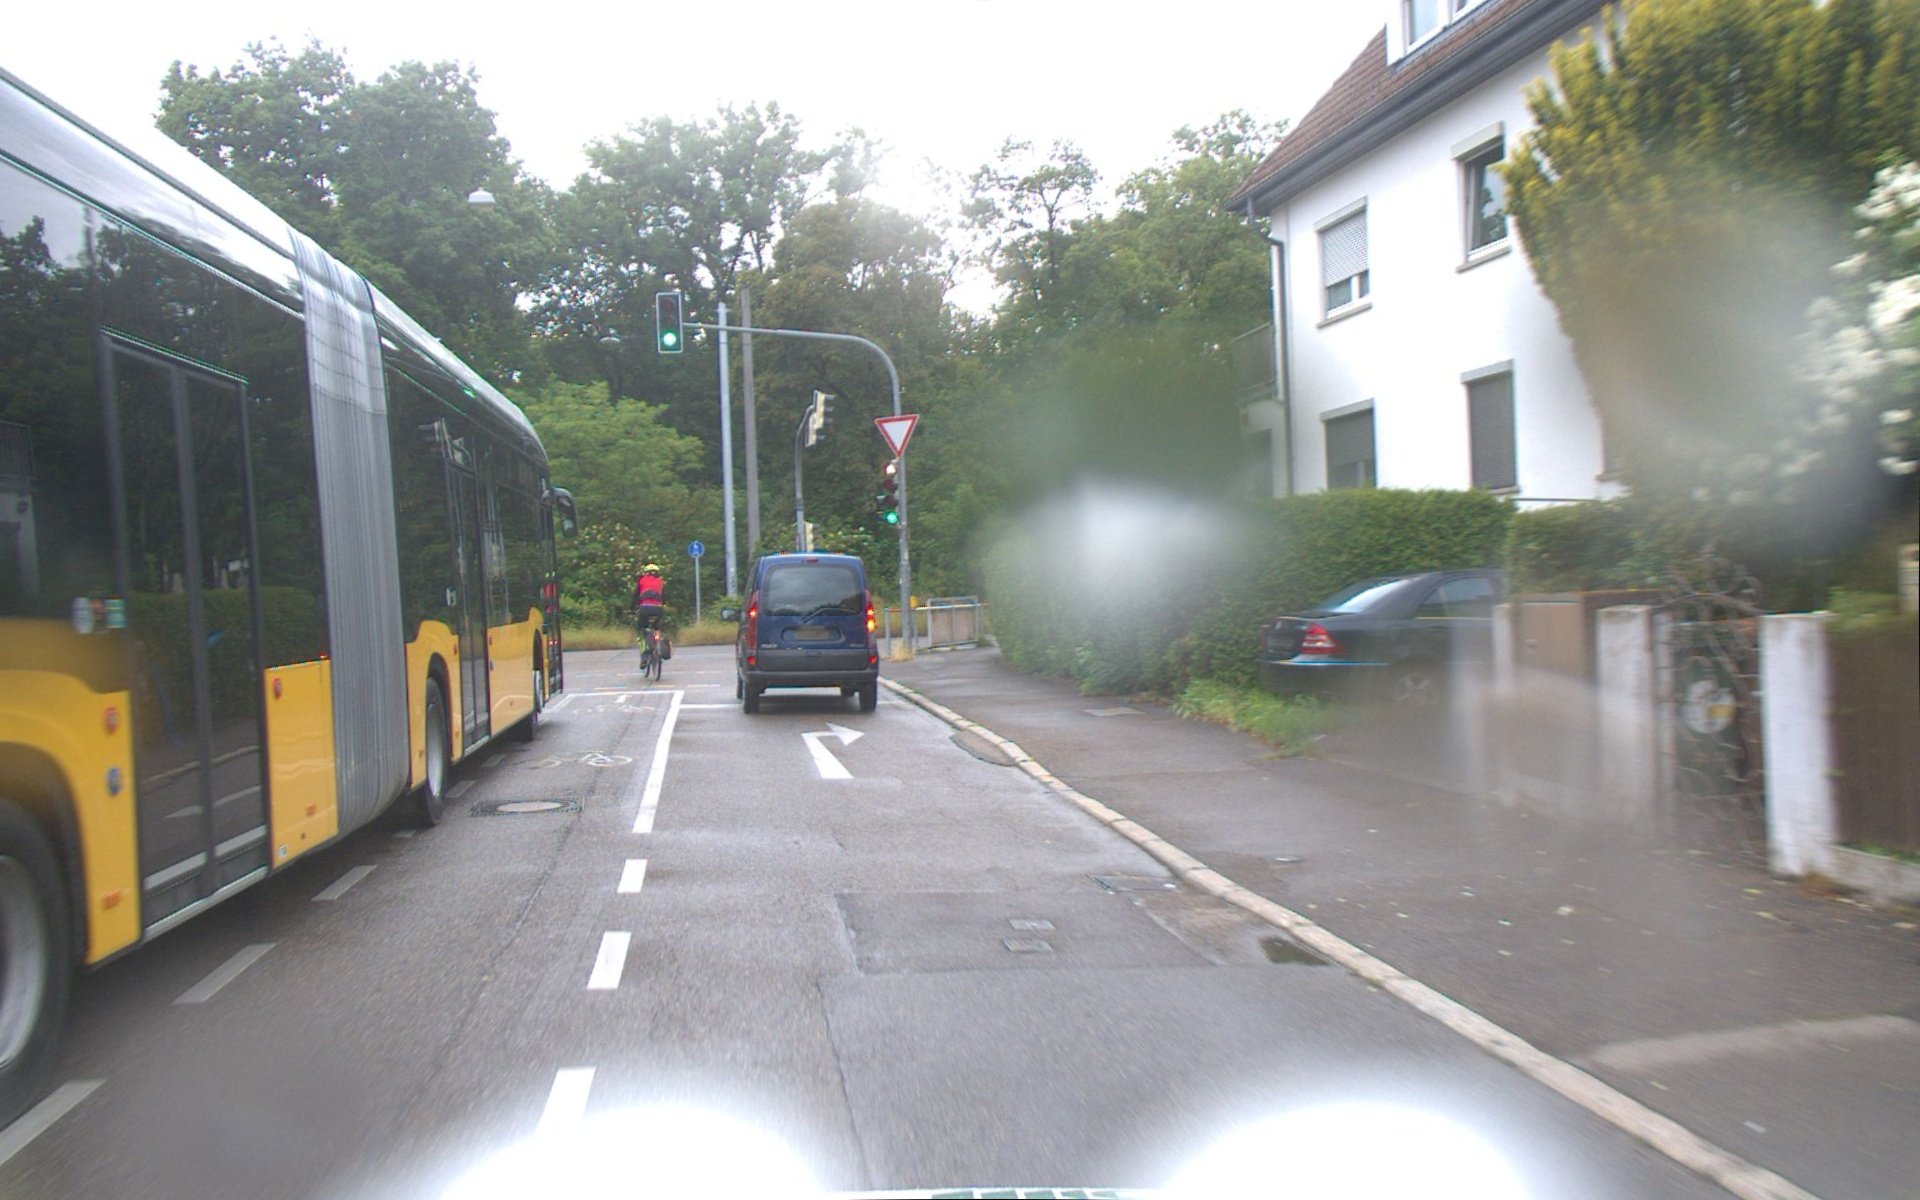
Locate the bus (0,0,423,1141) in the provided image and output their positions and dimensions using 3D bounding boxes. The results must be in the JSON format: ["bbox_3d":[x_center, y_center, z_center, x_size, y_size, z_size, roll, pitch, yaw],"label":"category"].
[{"bbox_3d":[-4.112,-0.192,5.360,2.625,3.457,8.670,-2,1,-6],"label":"bus"}]

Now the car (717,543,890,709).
[{"bbox_3d":[-2.054,0.306,20.728,1.776,1.829,3.989,-1,0,-11],"label":"car"}]

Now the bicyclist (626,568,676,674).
[{"bbox_3d":[-5.020,0.328,26.832,0.570,1.681,1.041,-1,0,-23],"label":"bicyclist"}]

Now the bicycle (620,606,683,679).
[{"bbox_3d":[-5.038,0.671,26.894,0.570,1.115,2.139,-1,1,-23],"label":"bicycle"}]

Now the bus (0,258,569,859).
[{"bbox_3d":[-5.283,-0.305,14.151,2.845,3.457,9.024,-2,1,-8],"label":"bus"}]

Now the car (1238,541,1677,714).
[{"bbox_3d":[4.677,0.203,15.749,3.675,1.412,1.613,-2,2,-10],"label":"car"}]
